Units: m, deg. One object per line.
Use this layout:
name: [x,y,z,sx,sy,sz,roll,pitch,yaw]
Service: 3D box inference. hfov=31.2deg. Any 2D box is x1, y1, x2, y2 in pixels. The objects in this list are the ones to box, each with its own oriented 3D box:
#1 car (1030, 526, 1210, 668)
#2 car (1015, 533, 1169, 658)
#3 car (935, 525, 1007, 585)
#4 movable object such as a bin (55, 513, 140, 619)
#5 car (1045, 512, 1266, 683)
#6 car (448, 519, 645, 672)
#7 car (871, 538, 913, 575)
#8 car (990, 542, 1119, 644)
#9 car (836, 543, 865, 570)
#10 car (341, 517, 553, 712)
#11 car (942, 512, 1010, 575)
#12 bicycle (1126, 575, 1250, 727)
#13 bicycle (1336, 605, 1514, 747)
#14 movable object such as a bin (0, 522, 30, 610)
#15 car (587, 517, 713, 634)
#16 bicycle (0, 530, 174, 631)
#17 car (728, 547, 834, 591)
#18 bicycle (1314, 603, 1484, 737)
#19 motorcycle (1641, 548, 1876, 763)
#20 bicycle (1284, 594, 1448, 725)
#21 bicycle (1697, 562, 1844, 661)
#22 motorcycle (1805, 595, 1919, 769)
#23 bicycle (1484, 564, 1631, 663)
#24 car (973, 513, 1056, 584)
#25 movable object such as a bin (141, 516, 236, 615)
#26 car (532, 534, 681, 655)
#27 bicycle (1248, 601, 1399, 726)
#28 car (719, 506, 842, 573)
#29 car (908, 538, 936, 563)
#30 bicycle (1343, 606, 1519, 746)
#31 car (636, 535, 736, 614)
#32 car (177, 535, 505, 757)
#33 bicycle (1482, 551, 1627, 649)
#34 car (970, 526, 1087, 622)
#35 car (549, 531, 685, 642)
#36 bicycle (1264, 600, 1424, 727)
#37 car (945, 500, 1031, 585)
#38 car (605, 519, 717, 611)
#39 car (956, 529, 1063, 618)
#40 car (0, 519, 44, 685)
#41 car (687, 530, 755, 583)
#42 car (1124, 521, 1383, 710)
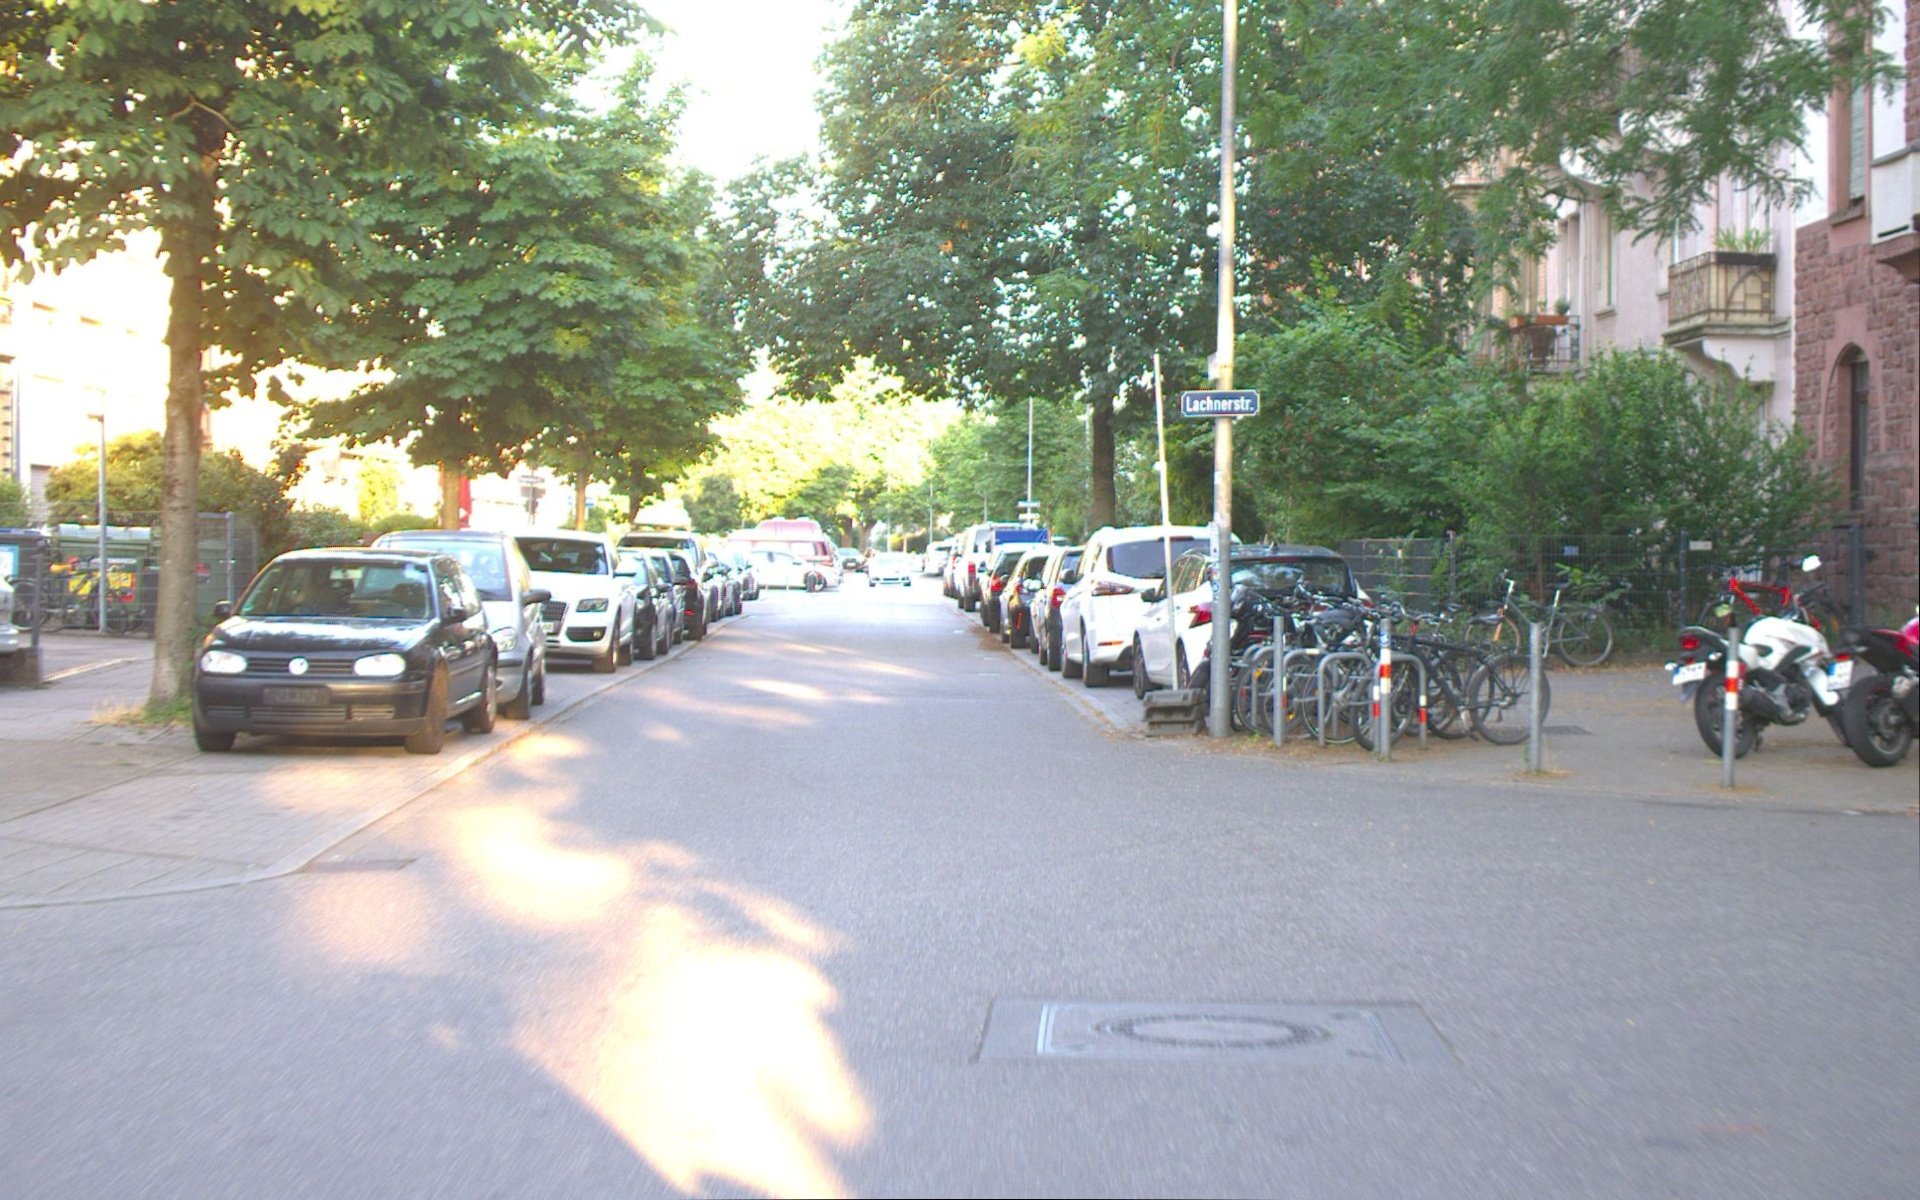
car: [1.873,-0.061,41.472,1.686,1.600,4.210,1,1,-4]
car: [1.742,-0.081,46.518,1.686,1.600,3.749,1,1,-4]
car: [0.285,-1.232,94.449,1.686,1.600,3.940,1,1,-4]
movable object such as a bin: [-12.074,-0.484,48.110,1.096,1.409,1.005,2,2,-15]
car: [2.011,-0.056,36.668,1.798,1.705,4.602,0,1,-4]
car: [-4.916,-0.103,41.437,1.921,1.711,4.428,1,1,-1]
car: [-2.990,-1.915,151.299,1.813,1.590,3.483,1,1,-1]
car: [1.389,-0.127,51.894,1.686,1.436,4.210,-1,1,-2]
car: [-6.782,-2.684,212.983,1.715,1.590,3.483,1,1,-1]
car: [-4.477,0.076,30.409,1.595,1.598,3.745,1,1,-5]
car: [0.442,-1.645,100.848,1.686,1.805,3.940,1,1,-4]
bicycle: [1.840,0.391,27.591,0.444,1.169,1.634,1,1,24]
bicycle: [3.346,0.543,24.766,1.224,0.983,0.330,-1,2,-3]
movable object such as a bin: [-13.684,-0.498,48.389,1.096,1.205,1.005,2,2,-15]
car: [-4.937,-0.434,55.139,1.715,1.784,4.216,1,1,-1]
bicycle: [-11.838,-0.270,45.836,2.529,1.188,0.643,3,2,5]
car: [-6.256,-1.075,119.795,3.618,1.456,1.607,1,1,-5]
bicycle: [3.281,0.518,25.685,1.223,0.960,0.330,-1,2,-18]
motorcycle: [5.652,0.359,24.241,0.585,1.403,2.207,2,3,43]
bicycle: [3.081,0.443,26.073,1.224,0.954,0.330,-1,2,-23]
bicycle: [8.756,0.124,37.163,1.509,1.030,0.330,-1,2,-3]
motorcycle: [6.504,0.524,23.316,0.437,1.076,2.207,2,3,44]
bicycle: [6.407,0.140,36.864,1.509,1.030,0.330,-1,2,-3]
car: [1.187,-1.139,76.418,1.538,1.516,3.432,1,1,-4]
movable object such as a bin: [-10.839,-0.490,48.294,1.013,1.316,1.005,3,2,4]
car: [-4.785,-0.089,46.919,1.715,1.561,3.781,1,0,-1]
bicycle: [2.898,0.499,27.387,1.224,0.948,0.330,-1,2,-29]
car: [-6.400,-2.155,122.667,4.349,2.310,1.746,1,1,-3]
car: [-2.437,-3.162,219.496,1.715,1.590,3.483,1,1,-1]
bicycle: [3.439,0.551,25.125,1.224,0.984,0.330,-1,2,-4]
car: [-5.323,-0.520,67.149,1.715,1.460,3.987,1,1,-1]
car: [-4.467,0.272,25.324,1.616,1.465,3.961,1,1,1]
bicycle: [6.455,0.000,37.349,1.509,1.030,0.330,-1,2,-3]
car: [1.160,-0.457,59.978,1.686,1.600,3.940,1,1,-4]
car: [-5.056,-0.231,51.080,1.715,1.561,3.788,1,1,-1]
bicycle: [2.993,0.490,26.774,1.224,0.944,0.330,-1,2,-23]
car: [0.630,-1.333,80.212,1.680,1.934,3.881,1,1,-4]
car: [-5.410,-0.663,62.624,1.715,1.590,4.519,1,1,-1]
car: [0.898,-0.506,64.544,1.686,1.600,3.940,1,1,-4]
car: [-10.933,-0.105,32.390,4.092,1.522,1.709,3,1,-2]
car: [-6.906,-1.255,99.540,1.715,1.481,3.630,1,0,0]
car: [2.572,0.092,30.887,1.686,1.587,3.659,0,1,-5]
